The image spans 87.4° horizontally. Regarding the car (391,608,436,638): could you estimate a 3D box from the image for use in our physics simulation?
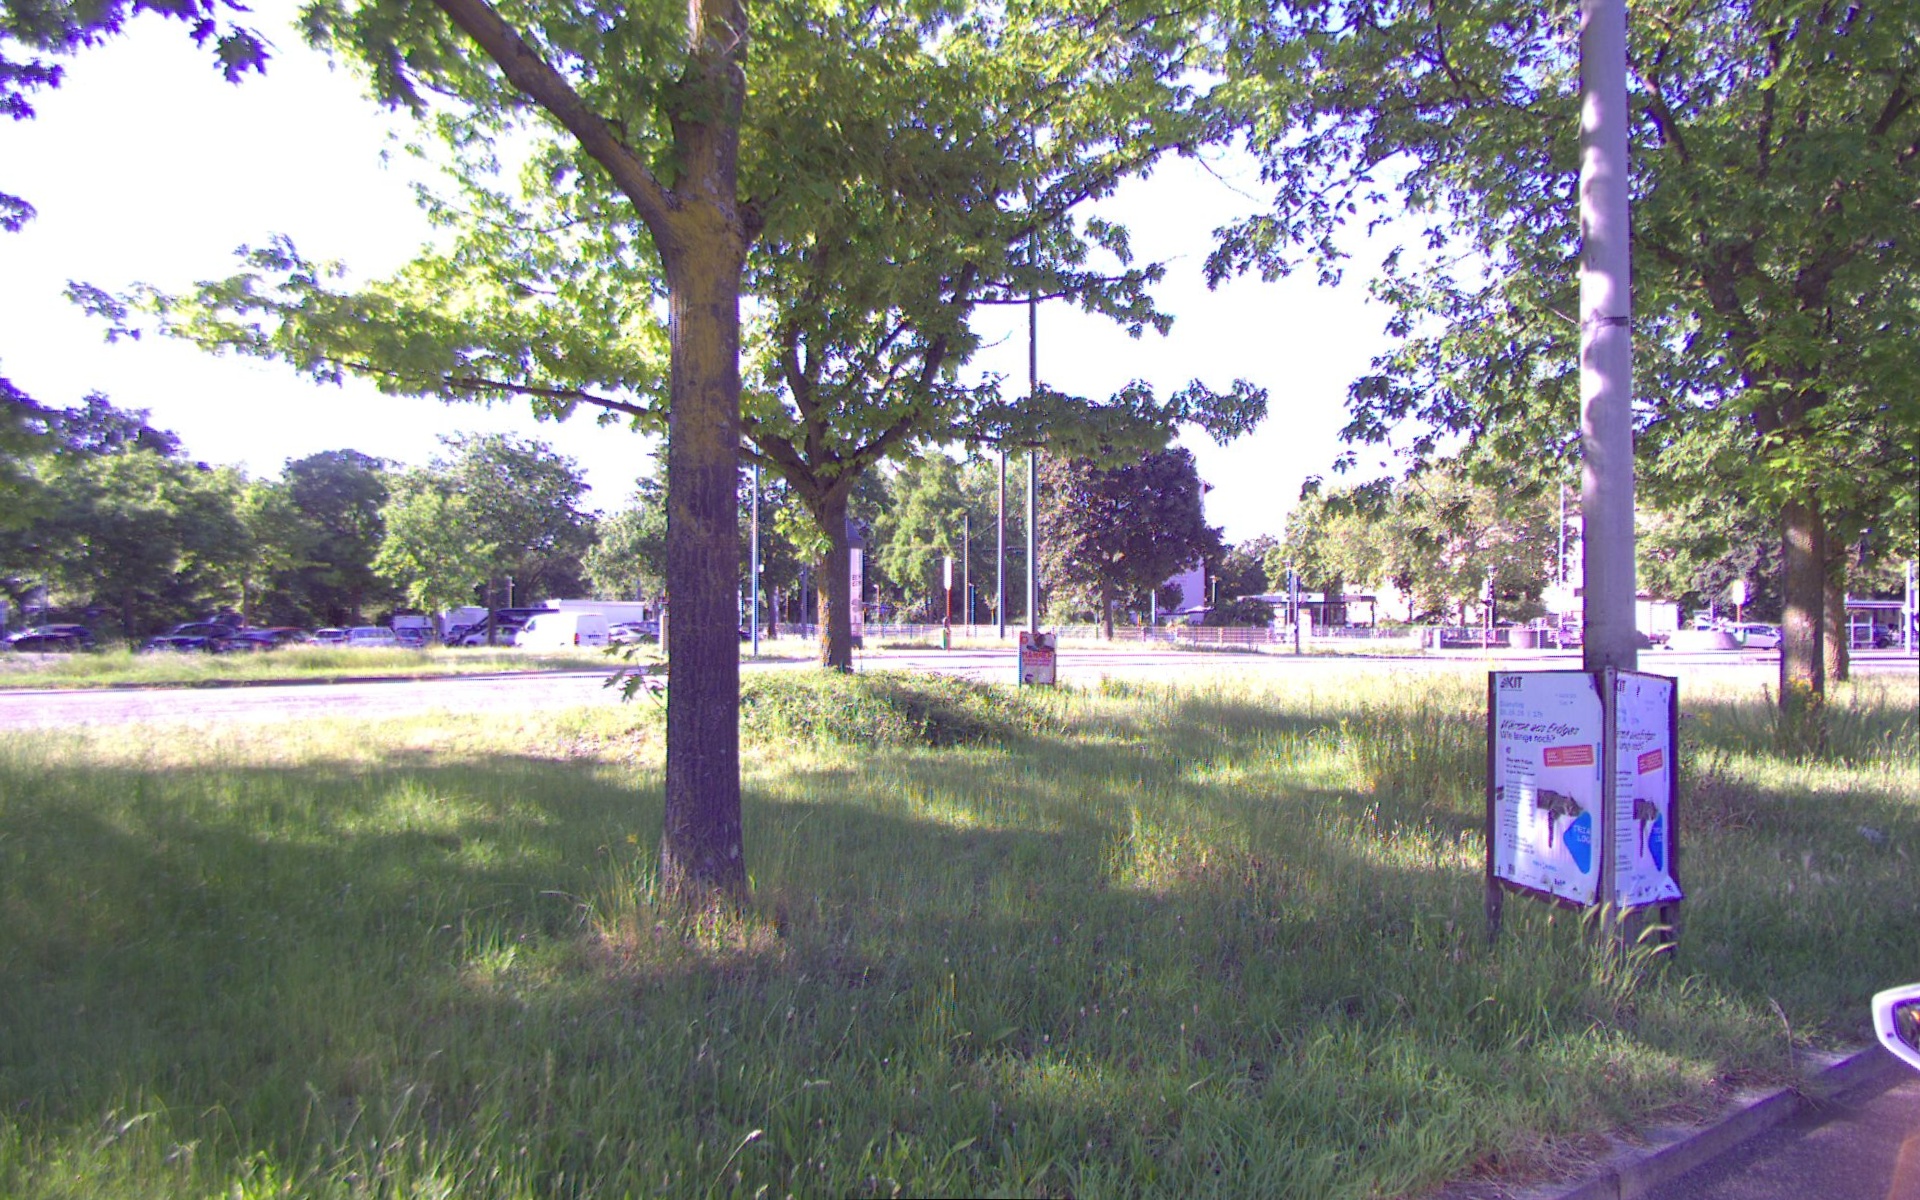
[{"bbox_3d":[-32.484,1.361,59.795,1.865,1.691,3.733,1,-1,-22],"label":"car"}]

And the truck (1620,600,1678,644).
[{"bbox_3d":[46.646,1.474,68.094,1.960,2.842,4.002,0,-1,15],"label":"truck"}]

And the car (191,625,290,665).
[{"bbox_3d":[-25.230,1.560,35.253,2.769,1.323,1.326,1,-1,-40],"label":"car"}]

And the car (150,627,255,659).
[{"bbox_3d":[-26.839,1.500,35.638,1.315,1.078,2.777,-1,-1,42],"label":"car"}]

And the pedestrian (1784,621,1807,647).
[{"bbox_3d":[53.613,2.157,64.478,0.781,1.629,0.923,0,-1,9],"label":"pedestrian"}]

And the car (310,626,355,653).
[{"bbox_3d":[-29.290,1.821,46.874,1.603,1.194,3.047,1,-1,-35],"label":"car"}]

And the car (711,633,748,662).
[{"bbox_3d":[-12.027,2.450,52.495,1.589,1.438,3.073,0,-1,-8],"label":"car"}]

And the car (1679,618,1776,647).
[{"bbox_3d":[46.912,1.961,61.469,4.233,1.706,2.001,0,-1,9],"label":"car"}]

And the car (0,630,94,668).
[{"bbox_3d":[-47.655,2.492,51.914,1.966,1.817,3.990,0,-1,32],"label":"car"}]

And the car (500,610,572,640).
[{"bbox_3d":[-24.126,1.409,57.298,3.698,1.691,1.883,1,-1,-23],"label":"car"}]

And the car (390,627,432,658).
[{"bbox_3d":[-26.697,2.025,48.788,1.602,1.438,3.050,1,-1,-33],"label":"car"}]

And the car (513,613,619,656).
[{"bbox_3d":[-17.214,1.471,43.809,4.670,1.762,2.024,0,-1,34],"label":"car"}]

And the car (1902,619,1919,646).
[{"bbox_3d":[71.940,2.393,73.404,1.910,2.040,4.155,1,-1,-31],"label":"car"}]

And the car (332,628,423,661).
[{"bbox_3d":[-21.823,1.630,37.643,2.769,1.171,1.326,1,-1,-40],"label":"car"}]
